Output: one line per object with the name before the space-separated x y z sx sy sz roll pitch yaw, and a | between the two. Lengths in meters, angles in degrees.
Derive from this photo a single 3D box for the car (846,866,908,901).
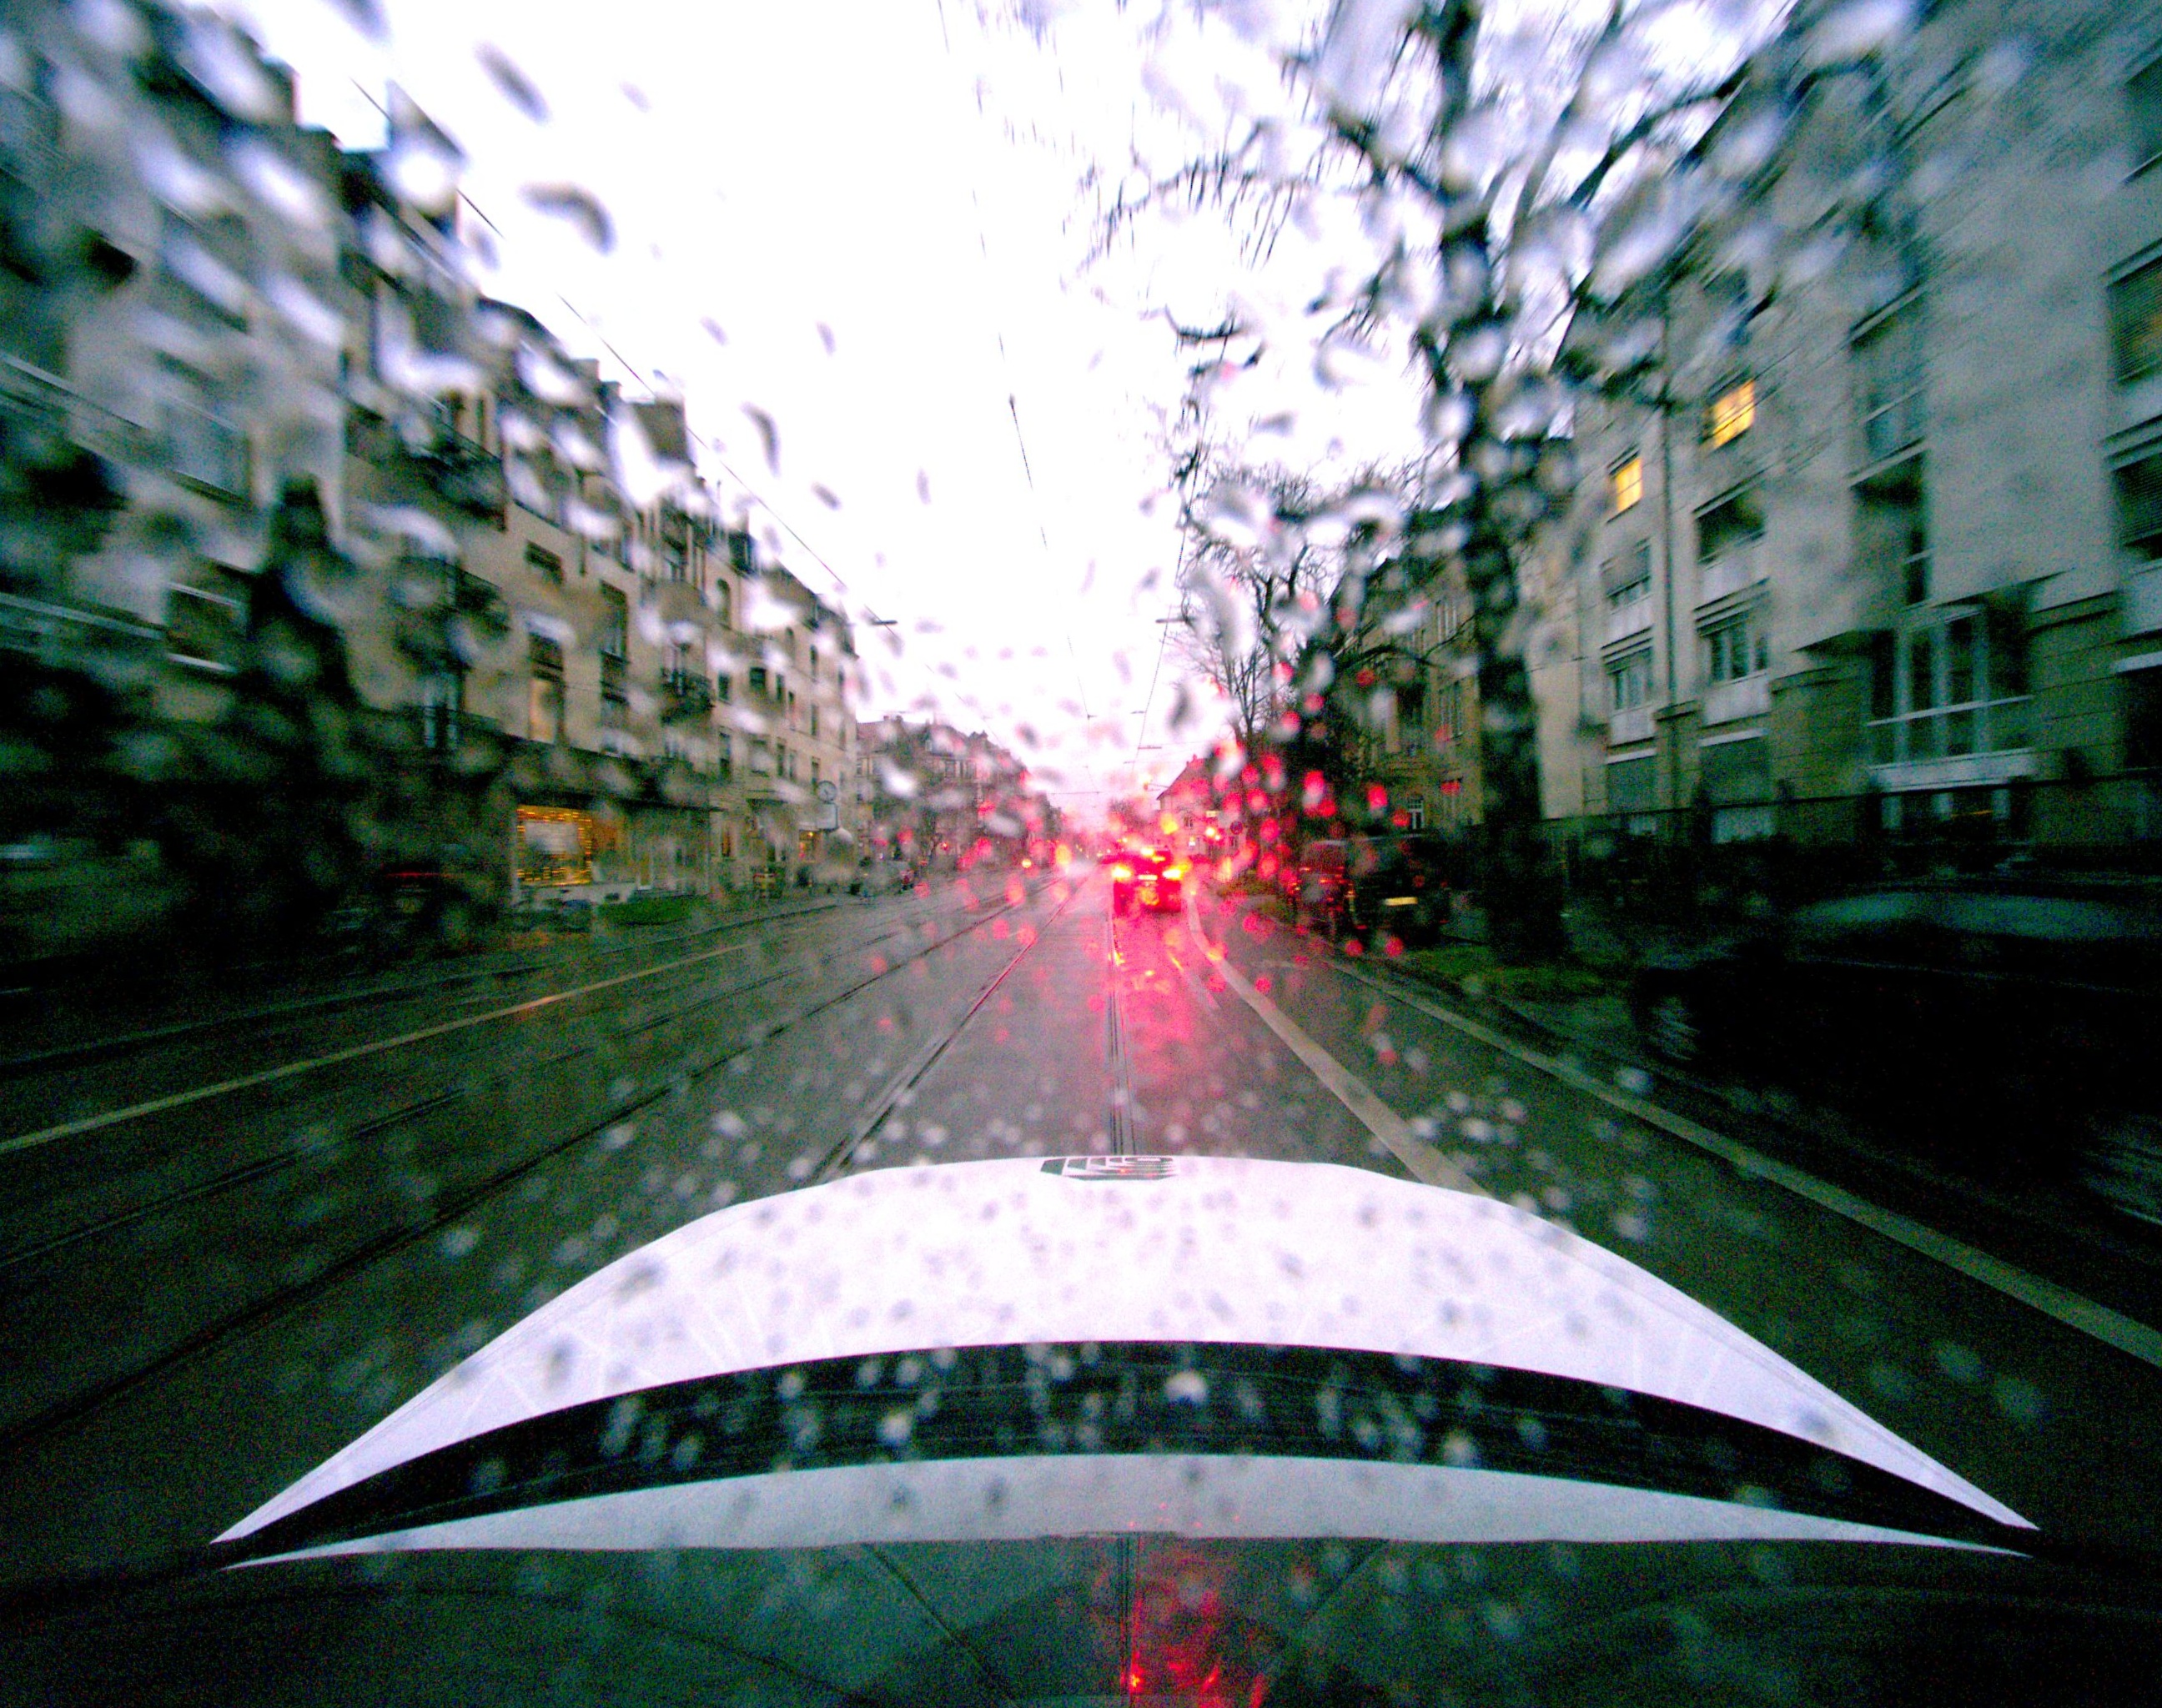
car | -9.803 1.379 39.431 1.826 1.447 4.002 -2 1 2

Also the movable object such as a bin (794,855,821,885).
movable object such as a bin | -15.015 0.873 44.800 1.009 1.600 1.082 -2 1 4

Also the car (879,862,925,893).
car | -9.907 1.280 45.223 1.623 1.550 3.501 -2 1 2

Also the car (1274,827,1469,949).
car | 5.284 0.512 15.655 1.986 1.900 5.028 -2 1 1

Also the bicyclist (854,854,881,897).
bicyclist | -8.274 0.839 31.556 0.713 1.602 0.931 -2 0 1

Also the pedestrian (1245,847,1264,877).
pedestrian | 11.808 0.526 55.326 1.019 2.013 0.919 -2 0 -2

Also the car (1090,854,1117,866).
car | 3.093 0.814 110.844 3.473 1.458 1.636 -2 1 3

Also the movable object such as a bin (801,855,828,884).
movable object such as a bin | -15.039 0.861 46.035 1.009 1.600 1.156 -2 1 4

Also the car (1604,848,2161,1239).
car | 5.030 0.729 4.522 1.671 1.460 4.043 -2 0 1

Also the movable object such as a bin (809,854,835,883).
movable object such as a bin | -15.029 0.837 47.249 1.009 1.600 1.082 -2 1 4

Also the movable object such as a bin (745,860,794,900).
movable object such as a bin | -12.899 1.073 33.758 1.404 1.530 1.365 -2 1 1

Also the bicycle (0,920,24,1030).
bicycle | -10.529 1.169 6.939 0.623 1.017 1.805 -3 0 0

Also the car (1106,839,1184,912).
car | 1.750 0.598 23.743 1.986 1.897 4.759 0 -1 1

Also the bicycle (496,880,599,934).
bicycle | -11.922 1.180 18.250 1.802 1.080 0.615 -2 0 -6

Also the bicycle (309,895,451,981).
bicycle | -10.599 1.236 12.408 0.613 1.080 1.809 -2 1 -3

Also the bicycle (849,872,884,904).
bicycle | -8.264 1.302 31.444 0.713 1.110 2.065 -2 1 2
